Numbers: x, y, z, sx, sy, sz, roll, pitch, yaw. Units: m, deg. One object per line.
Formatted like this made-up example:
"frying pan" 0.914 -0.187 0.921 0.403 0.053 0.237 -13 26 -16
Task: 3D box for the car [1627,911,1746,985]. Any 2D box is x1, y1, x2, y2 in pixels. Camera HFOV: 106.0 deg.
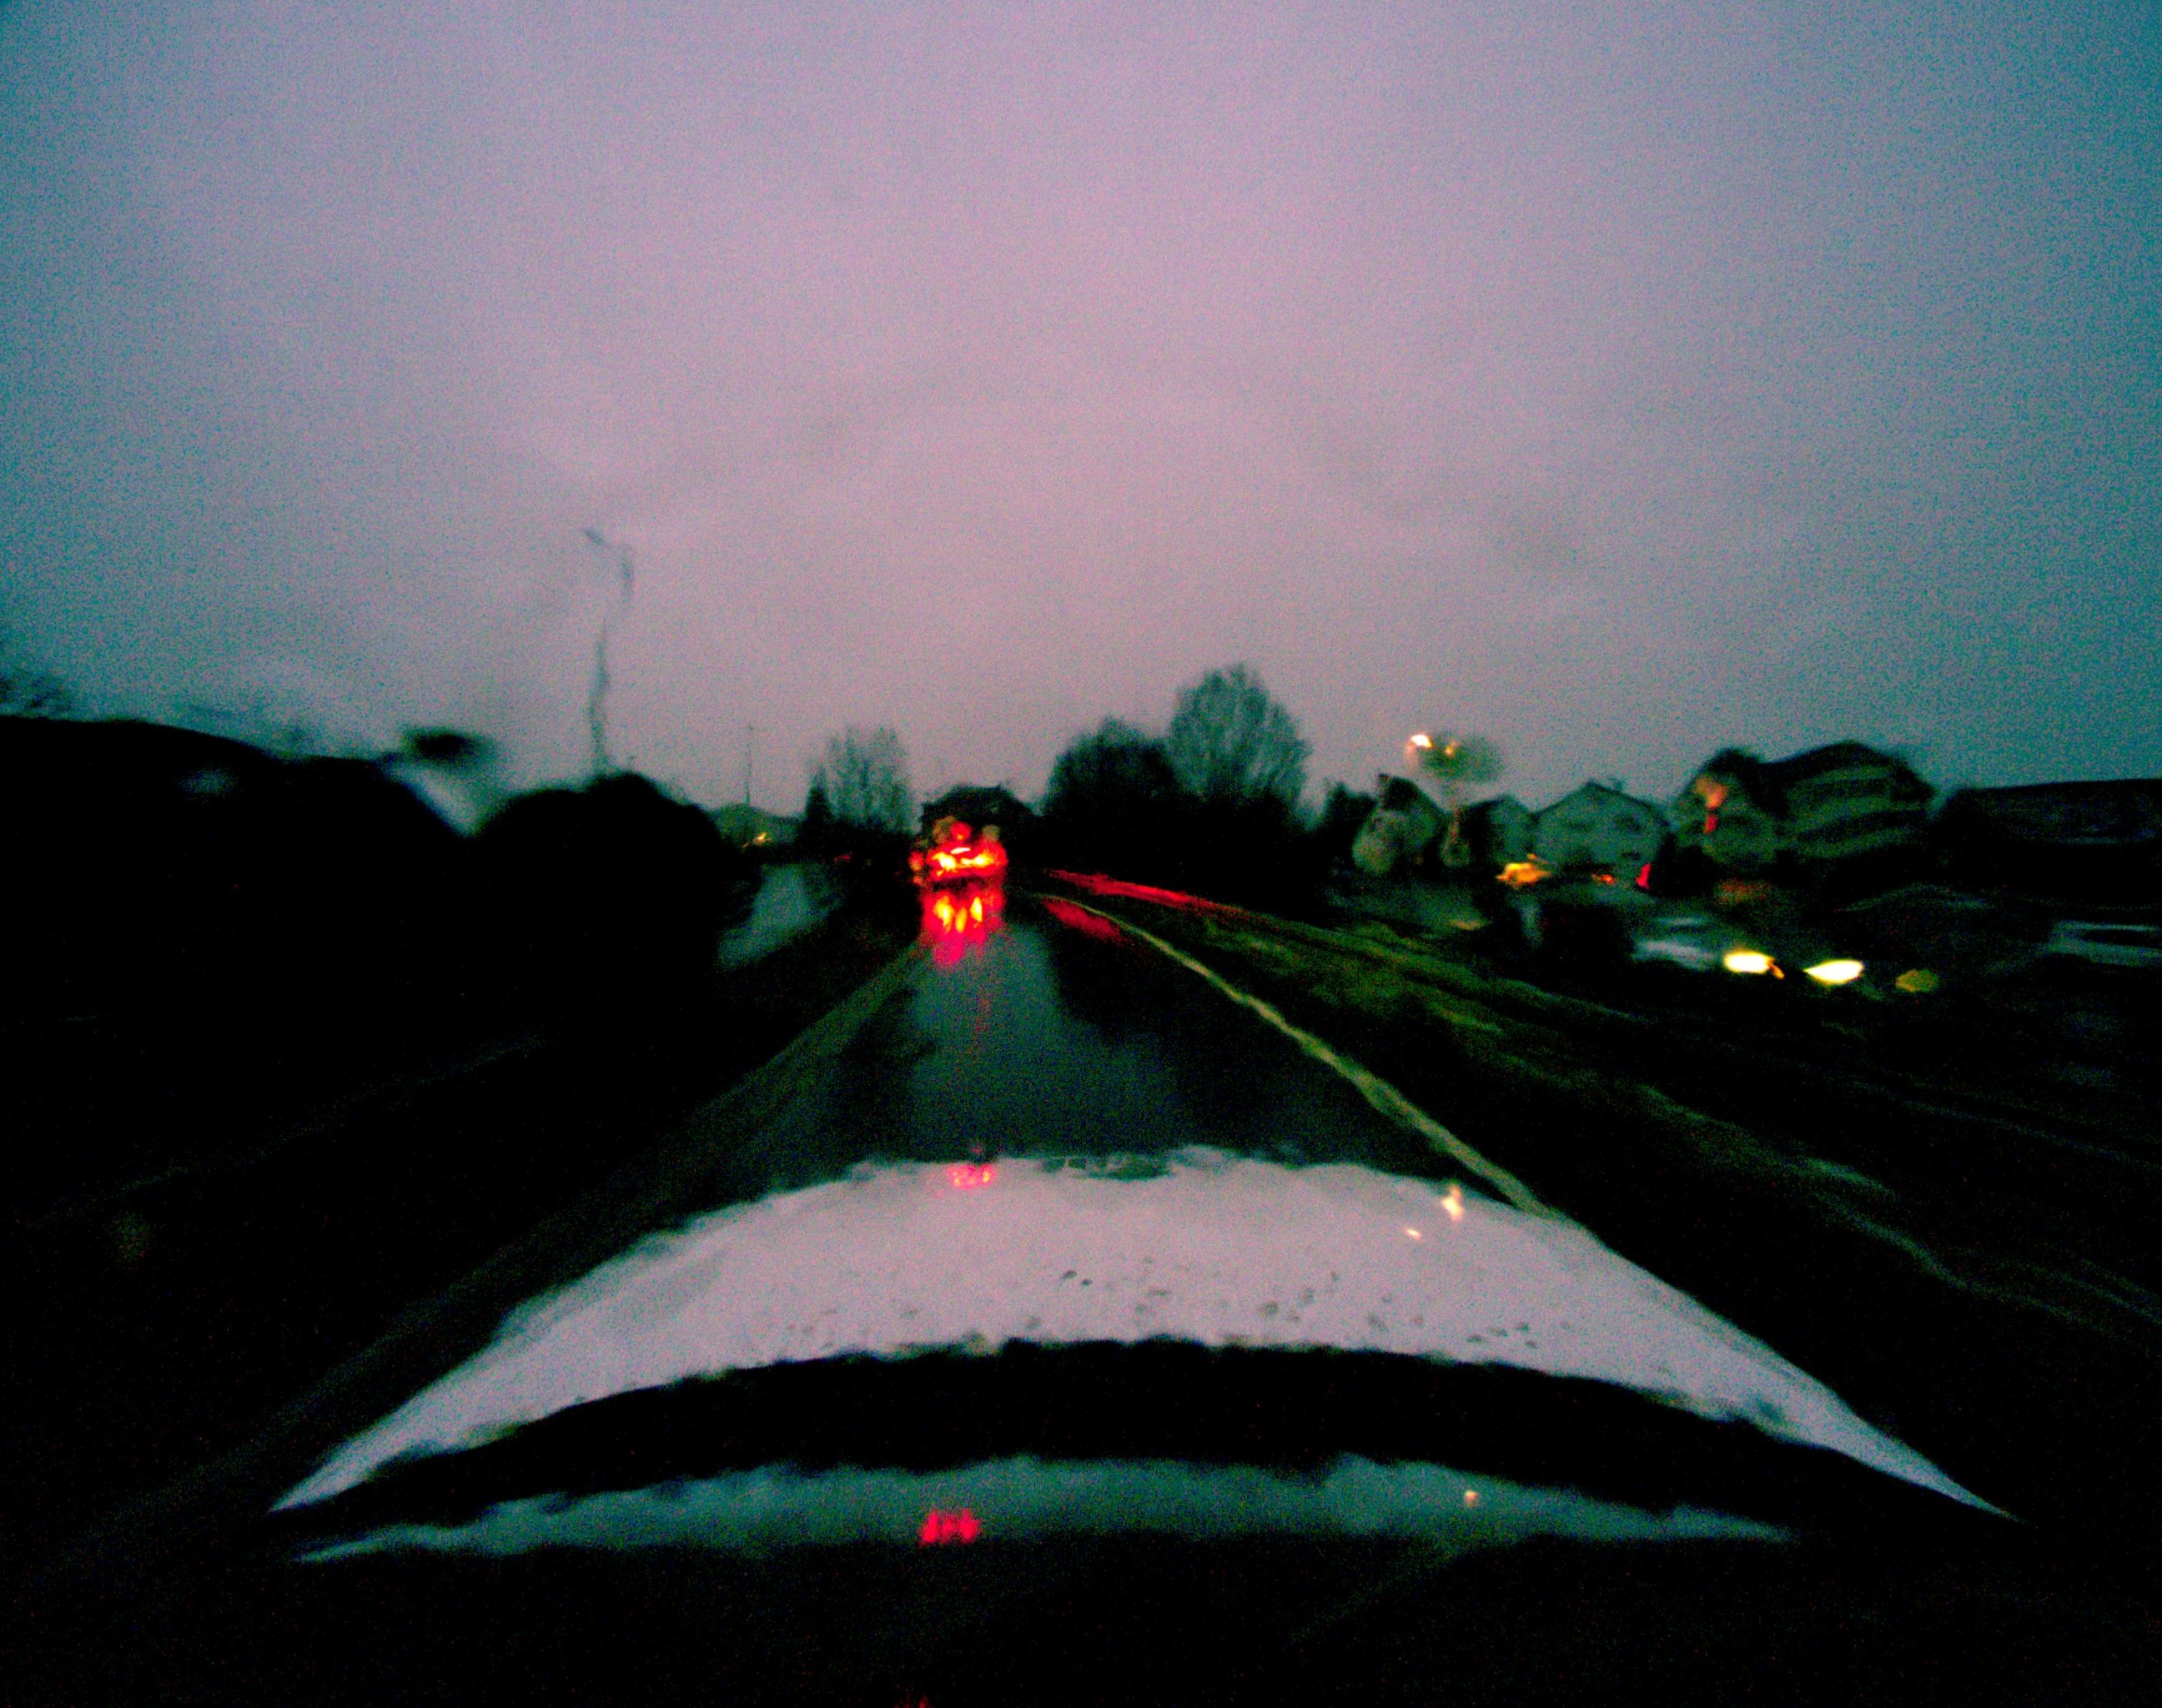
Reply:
"car" 15.697 2.348 21.044 4.022 1.439 1.775 0 0 -43

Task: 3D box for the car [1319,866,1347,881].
"car" 26.929 2.085 86.845 1.891 1.486 4.025 -1 -1 31

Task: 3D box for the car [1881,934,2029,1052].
"car" 15.524 2.334 14.521 4.022 1.420 1.612 0 0 -43

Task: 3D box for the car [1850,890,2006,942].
"car" 30.776 2.199 29.682 1.631 1.607 3.795 0 0 -39

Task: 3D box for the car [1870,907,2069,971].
"car" 25.703 2.393 23.679 1.575 1.430 3.721 0 0 -34

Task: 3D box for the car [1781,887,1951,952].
"car" 26.129 2.107 27.208 1.733 1.868 3.986 0 0 -43

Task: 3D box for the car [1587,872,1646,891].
"car" 44.494 2.253 67.643 3.948 1.515 1.925 -1 -1 37

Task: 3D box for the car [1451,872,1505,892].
"car" 33.476 2.342 68.691 3.949 1.661 1.955 -1 0 30

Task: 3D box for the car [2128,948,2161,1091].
"car" 15.811 2.231 10.996 4.610 1.455 1.909 0 -1 -39

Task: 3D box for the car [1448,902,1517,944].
"car" 15.274 2.573 30.907 3.228 1.313 1.373 -1 0 -45

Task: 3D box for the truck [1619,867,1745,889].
"truck" 51.275 2.015 69.815 8.552 1.815 2.430 -1 0 33

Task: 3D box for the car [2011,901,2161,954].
"car" 31.700 2.255 25.115 3.790 1.393 1.579 0 0 41

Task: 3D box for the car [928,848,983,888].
"car" -5.836 0.622 37.537 1.949 1.718 3.976 1 -1 -18

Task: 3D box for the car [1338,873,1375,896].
"car" 20.134 2.233 59.632 1.925 1.547 4.011 -1 0 10

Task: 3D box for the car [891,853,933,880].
"car" -11.497 0.792 55.186 2.170 1.689 4.542 0 1 -19

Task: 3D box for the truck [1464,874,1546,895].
"truck" 33.858 2.392 65.083 5.715 1.547 1.955 -1 0 30

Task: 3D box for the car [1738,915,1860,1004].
"car" 15.767 2.207 17.823 4.022 1.420 1.612 0 0 -43

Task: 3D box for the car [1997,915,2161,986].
"car" 25.497 2.380 20.130 1.577 1.430 3.718 0 0 -39

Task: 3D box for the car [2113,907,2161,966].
"car" 30.989 2.304 21.889 3.790 1.500 1.579 0 0 41
